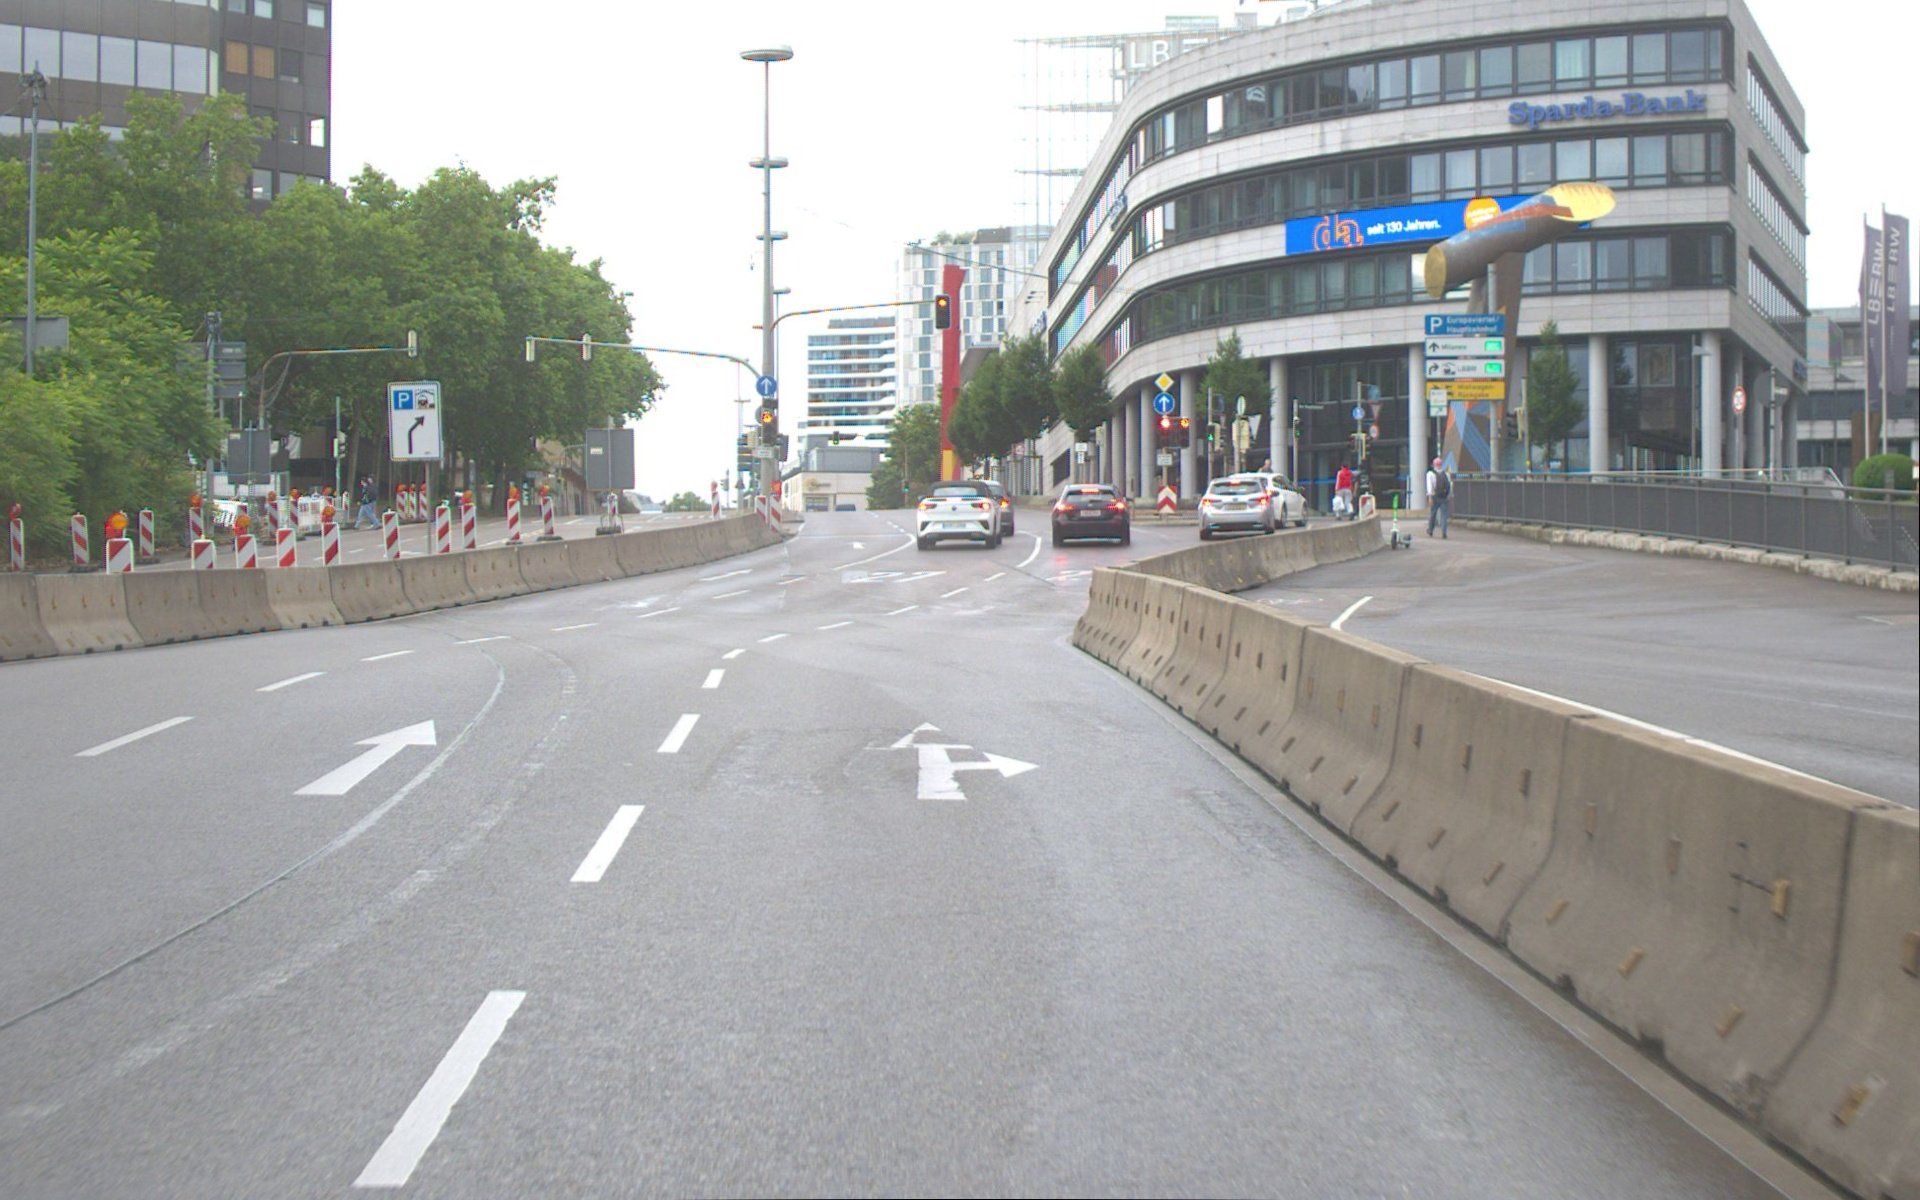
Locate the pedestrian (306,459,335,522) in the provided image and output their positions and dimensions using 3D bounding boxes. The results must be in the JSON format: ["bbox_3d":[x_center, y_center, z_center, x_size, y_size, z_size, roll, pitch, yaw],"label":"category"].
[{"bbox_3d":[-19.803,-3.378,106.454,0.761,1.916,0.742,0,0,1],"label":"pedestrian"}]

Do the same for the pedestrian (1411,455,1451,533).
[{"bbox_3d":[10.360,-2.325,75.654,0.729,1.705,0.843,0,0,-2],"label":"pedestrian"}]

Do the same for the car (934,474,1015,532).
[{"bbox_3d":[0.346,-2.474,87.345,1.739,1.438,4.001,0,2,-4],"label":"car"}]

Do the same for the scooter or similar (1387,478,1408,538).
[{"bbox_3d":[8.538,-1.800,67.140,0.349,1.158,0.572,0,1,13],"label":"scooter or similar"}]

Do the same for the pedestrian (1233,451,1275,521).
[{"bbox_3d":[8.887,-3.445,104.001,0.852,2.091,0.905,1,2,-25],"label":"pedestrian"}]

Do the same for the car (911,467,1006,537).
[{"bbox_3d":[-0.010,-2.259,78.666,1.964,1.543,4.219,0,2,3],"label":"car"}]

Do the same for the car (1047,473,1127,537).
[{"bbox_3d":[2.910,-2.186,79.409,1.755,1.402,4.228,1,1,1],"label":"car"}]

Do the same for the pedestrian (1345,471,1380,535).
[{"bbox_3d":[12.158,-2.938,103.895,0.841,1.898,0.860,0,0,24],"label":"pedestrian"}]

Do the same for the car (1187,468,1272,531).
[{"bbox_3d":[6.420,-2.383,82.162,1.701,1.446,4.616,0,1,1],"label":"car"}]

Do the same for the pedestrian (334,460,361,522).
[{"bbox_3d":[-18.981,-3.376,106.507,0.672,1.895,0.775,0,0,1],"label":"pedestrian"}]

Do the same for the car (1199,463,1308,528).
[{"bbox_3d":[7.614,-2.714,88.750,1.773,1.628,4.577,0,2,18],"label":"car"}]
